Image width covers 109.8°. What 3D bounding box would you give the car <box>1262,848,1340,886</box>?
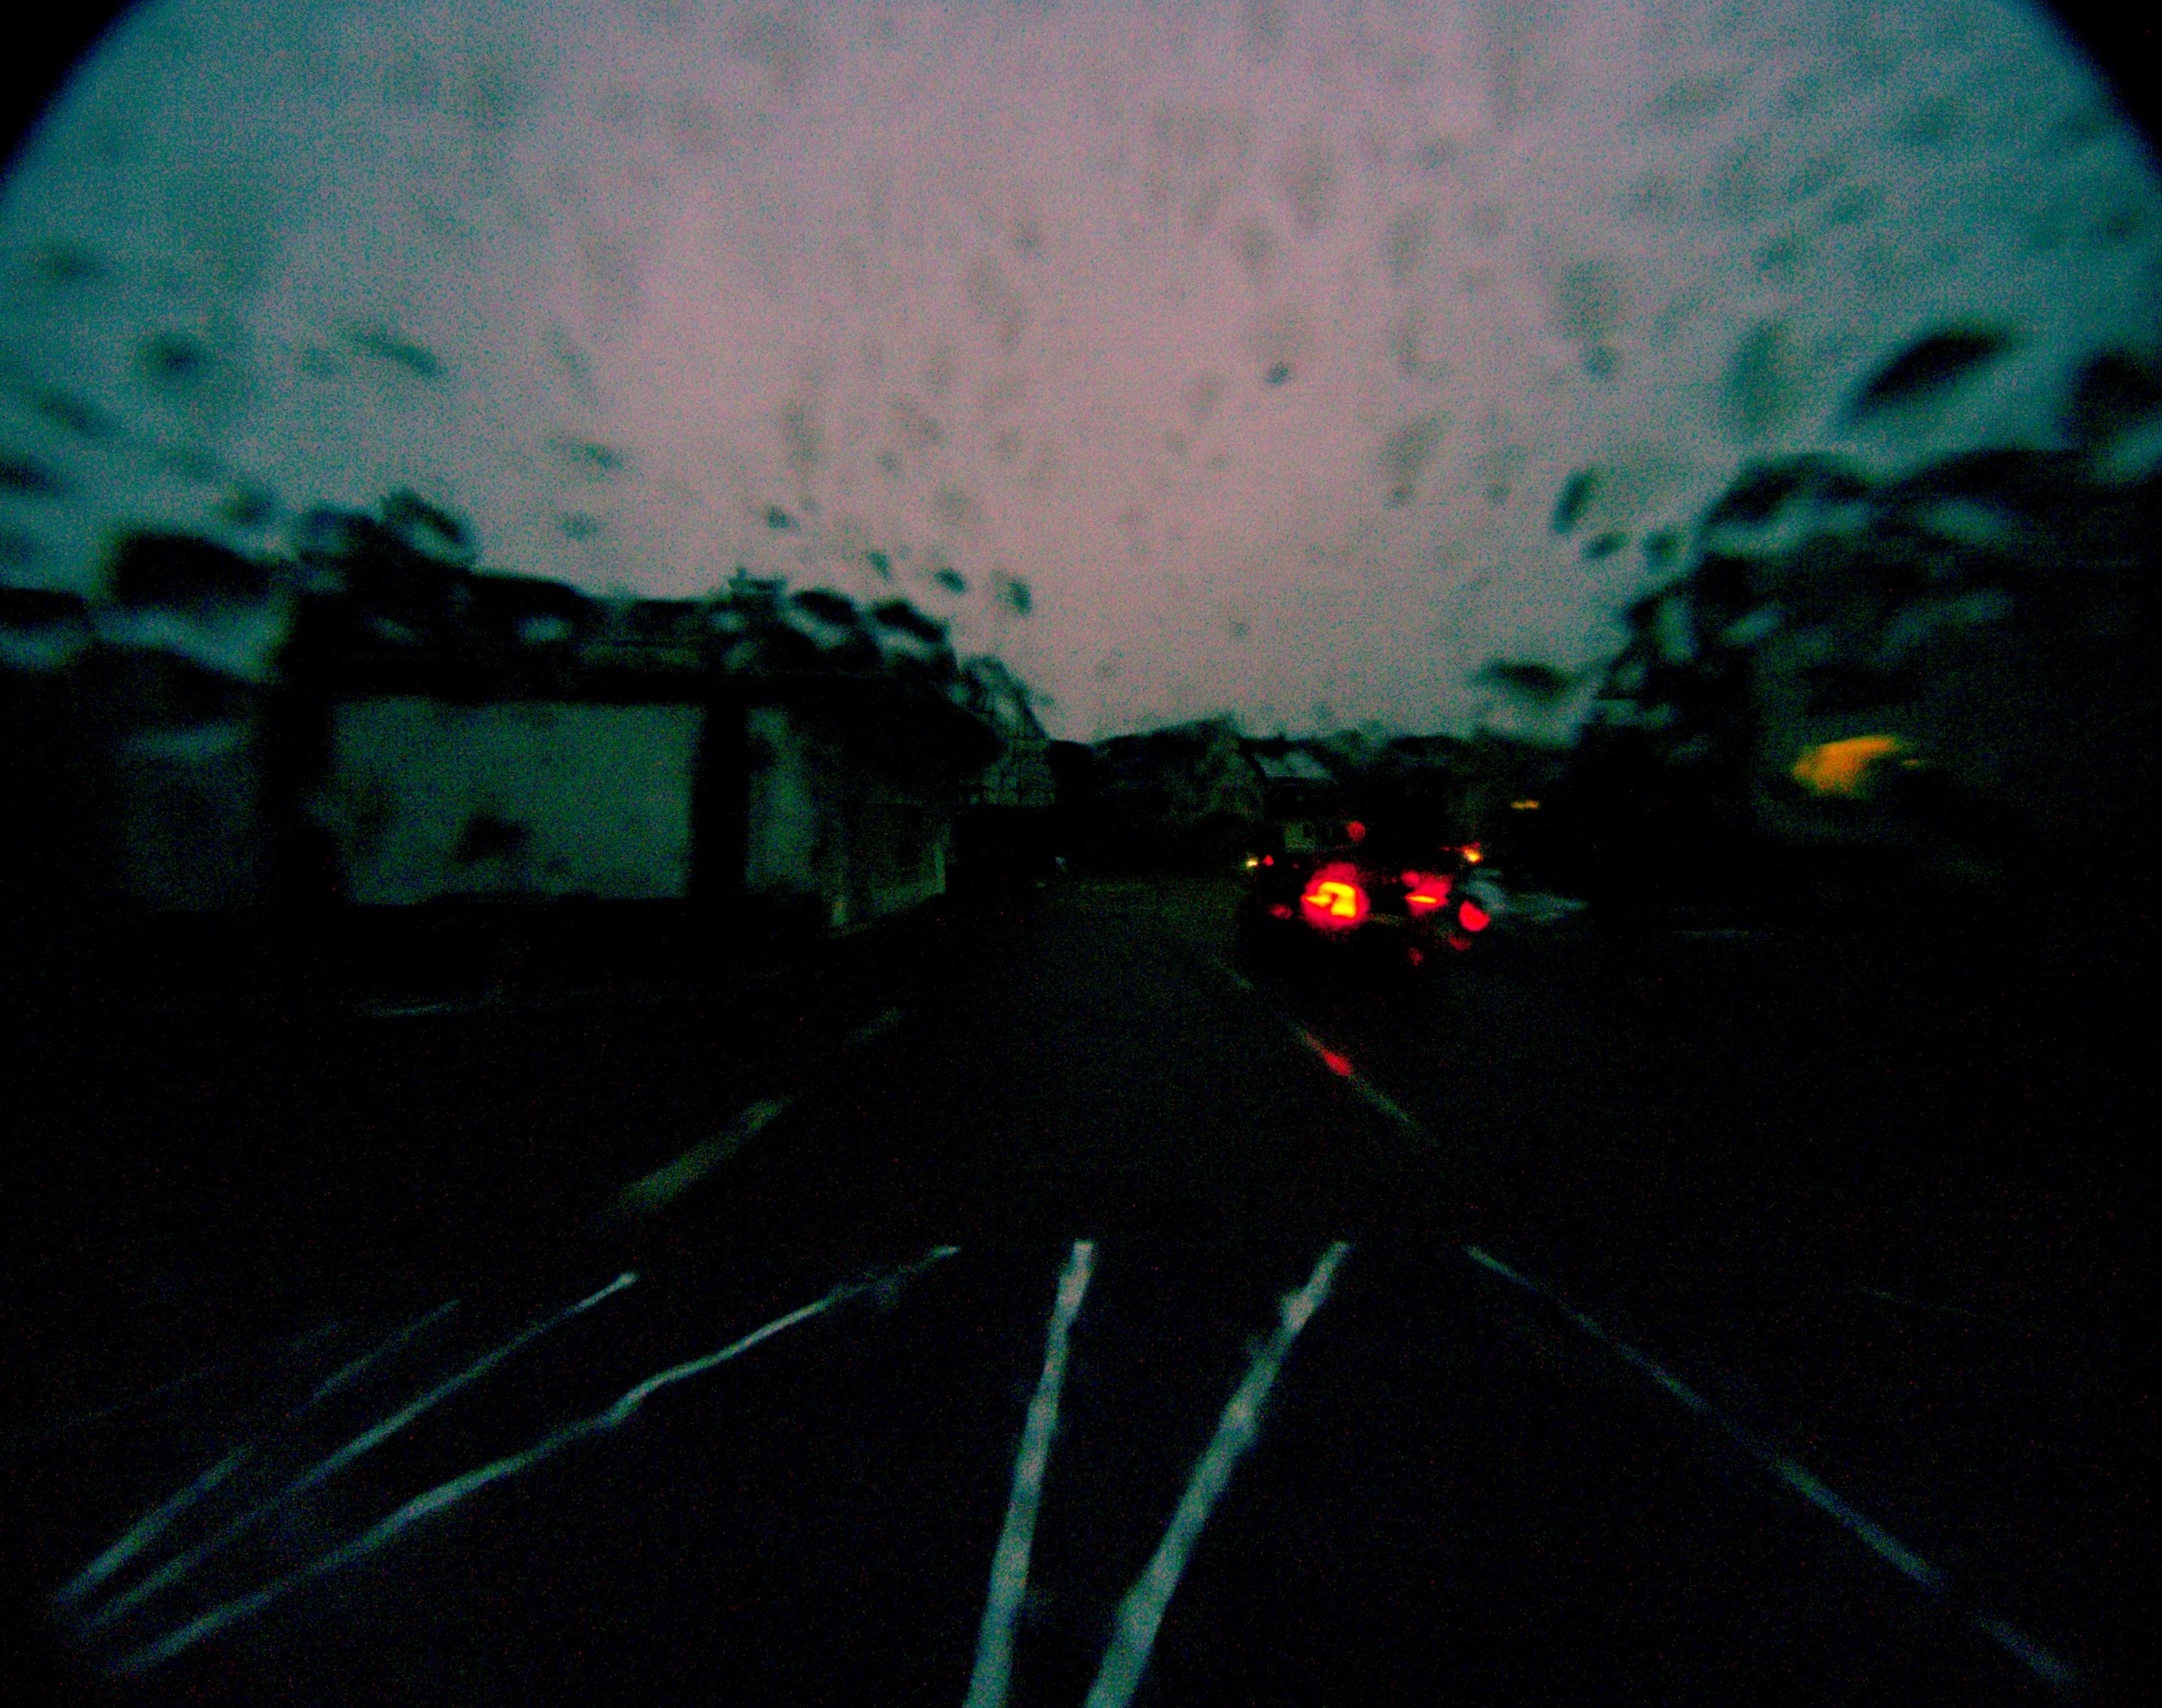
[{"bbox_3d":[10.197,0.555,34.979,1.878,1.603,4.611,0,1,38],"label":"car"}]

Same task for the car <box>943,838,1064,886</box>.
[{"bbox_3d":[-3.167,0.321,30.860,4.481,1.651,1.852,3,2,-18],"label":"car"}]

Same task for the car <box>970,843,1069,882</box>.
[{"bbox_3d":[-2.741,0.382,33.768,4.041,1.413,1.812,3,2,-17],"label":"car"}]

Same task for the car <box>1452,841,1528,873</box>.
[{"bbox_3d":[27.309,0.174,50.731,4.807,2.045,2.057,0,0,-25],"label":"car"}]

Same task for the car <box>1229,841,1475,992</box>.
[{"bbox_3d":[3.459,0.729,10.597,1.917,1.643,4.000,-2,0,-1],"label":"car"}]

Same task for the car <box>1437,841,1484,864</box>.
[{"bbox_3d":[29.528,-0.144,59.218,1.649,1.498,3.486,-1,4,-6],"label":"car"}]

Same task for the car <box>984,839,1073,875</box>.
[{"bbox_3d":[-2.590,0.158,37.485,3.990,1.507,1.594,3,2,-24],"label":"car"}]

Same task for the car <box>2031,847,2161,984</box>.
[{"bbox_3d":[13.852,0.639,8.748,3.999,1.454,1.819,-2,0,-7],"label":"car"}]

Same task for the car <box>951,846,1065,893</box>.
[{"bbox_3d":[-2.746,0.554,28.306,3.897,1.442,1.885,3,2,-17],"label":"car"}]
